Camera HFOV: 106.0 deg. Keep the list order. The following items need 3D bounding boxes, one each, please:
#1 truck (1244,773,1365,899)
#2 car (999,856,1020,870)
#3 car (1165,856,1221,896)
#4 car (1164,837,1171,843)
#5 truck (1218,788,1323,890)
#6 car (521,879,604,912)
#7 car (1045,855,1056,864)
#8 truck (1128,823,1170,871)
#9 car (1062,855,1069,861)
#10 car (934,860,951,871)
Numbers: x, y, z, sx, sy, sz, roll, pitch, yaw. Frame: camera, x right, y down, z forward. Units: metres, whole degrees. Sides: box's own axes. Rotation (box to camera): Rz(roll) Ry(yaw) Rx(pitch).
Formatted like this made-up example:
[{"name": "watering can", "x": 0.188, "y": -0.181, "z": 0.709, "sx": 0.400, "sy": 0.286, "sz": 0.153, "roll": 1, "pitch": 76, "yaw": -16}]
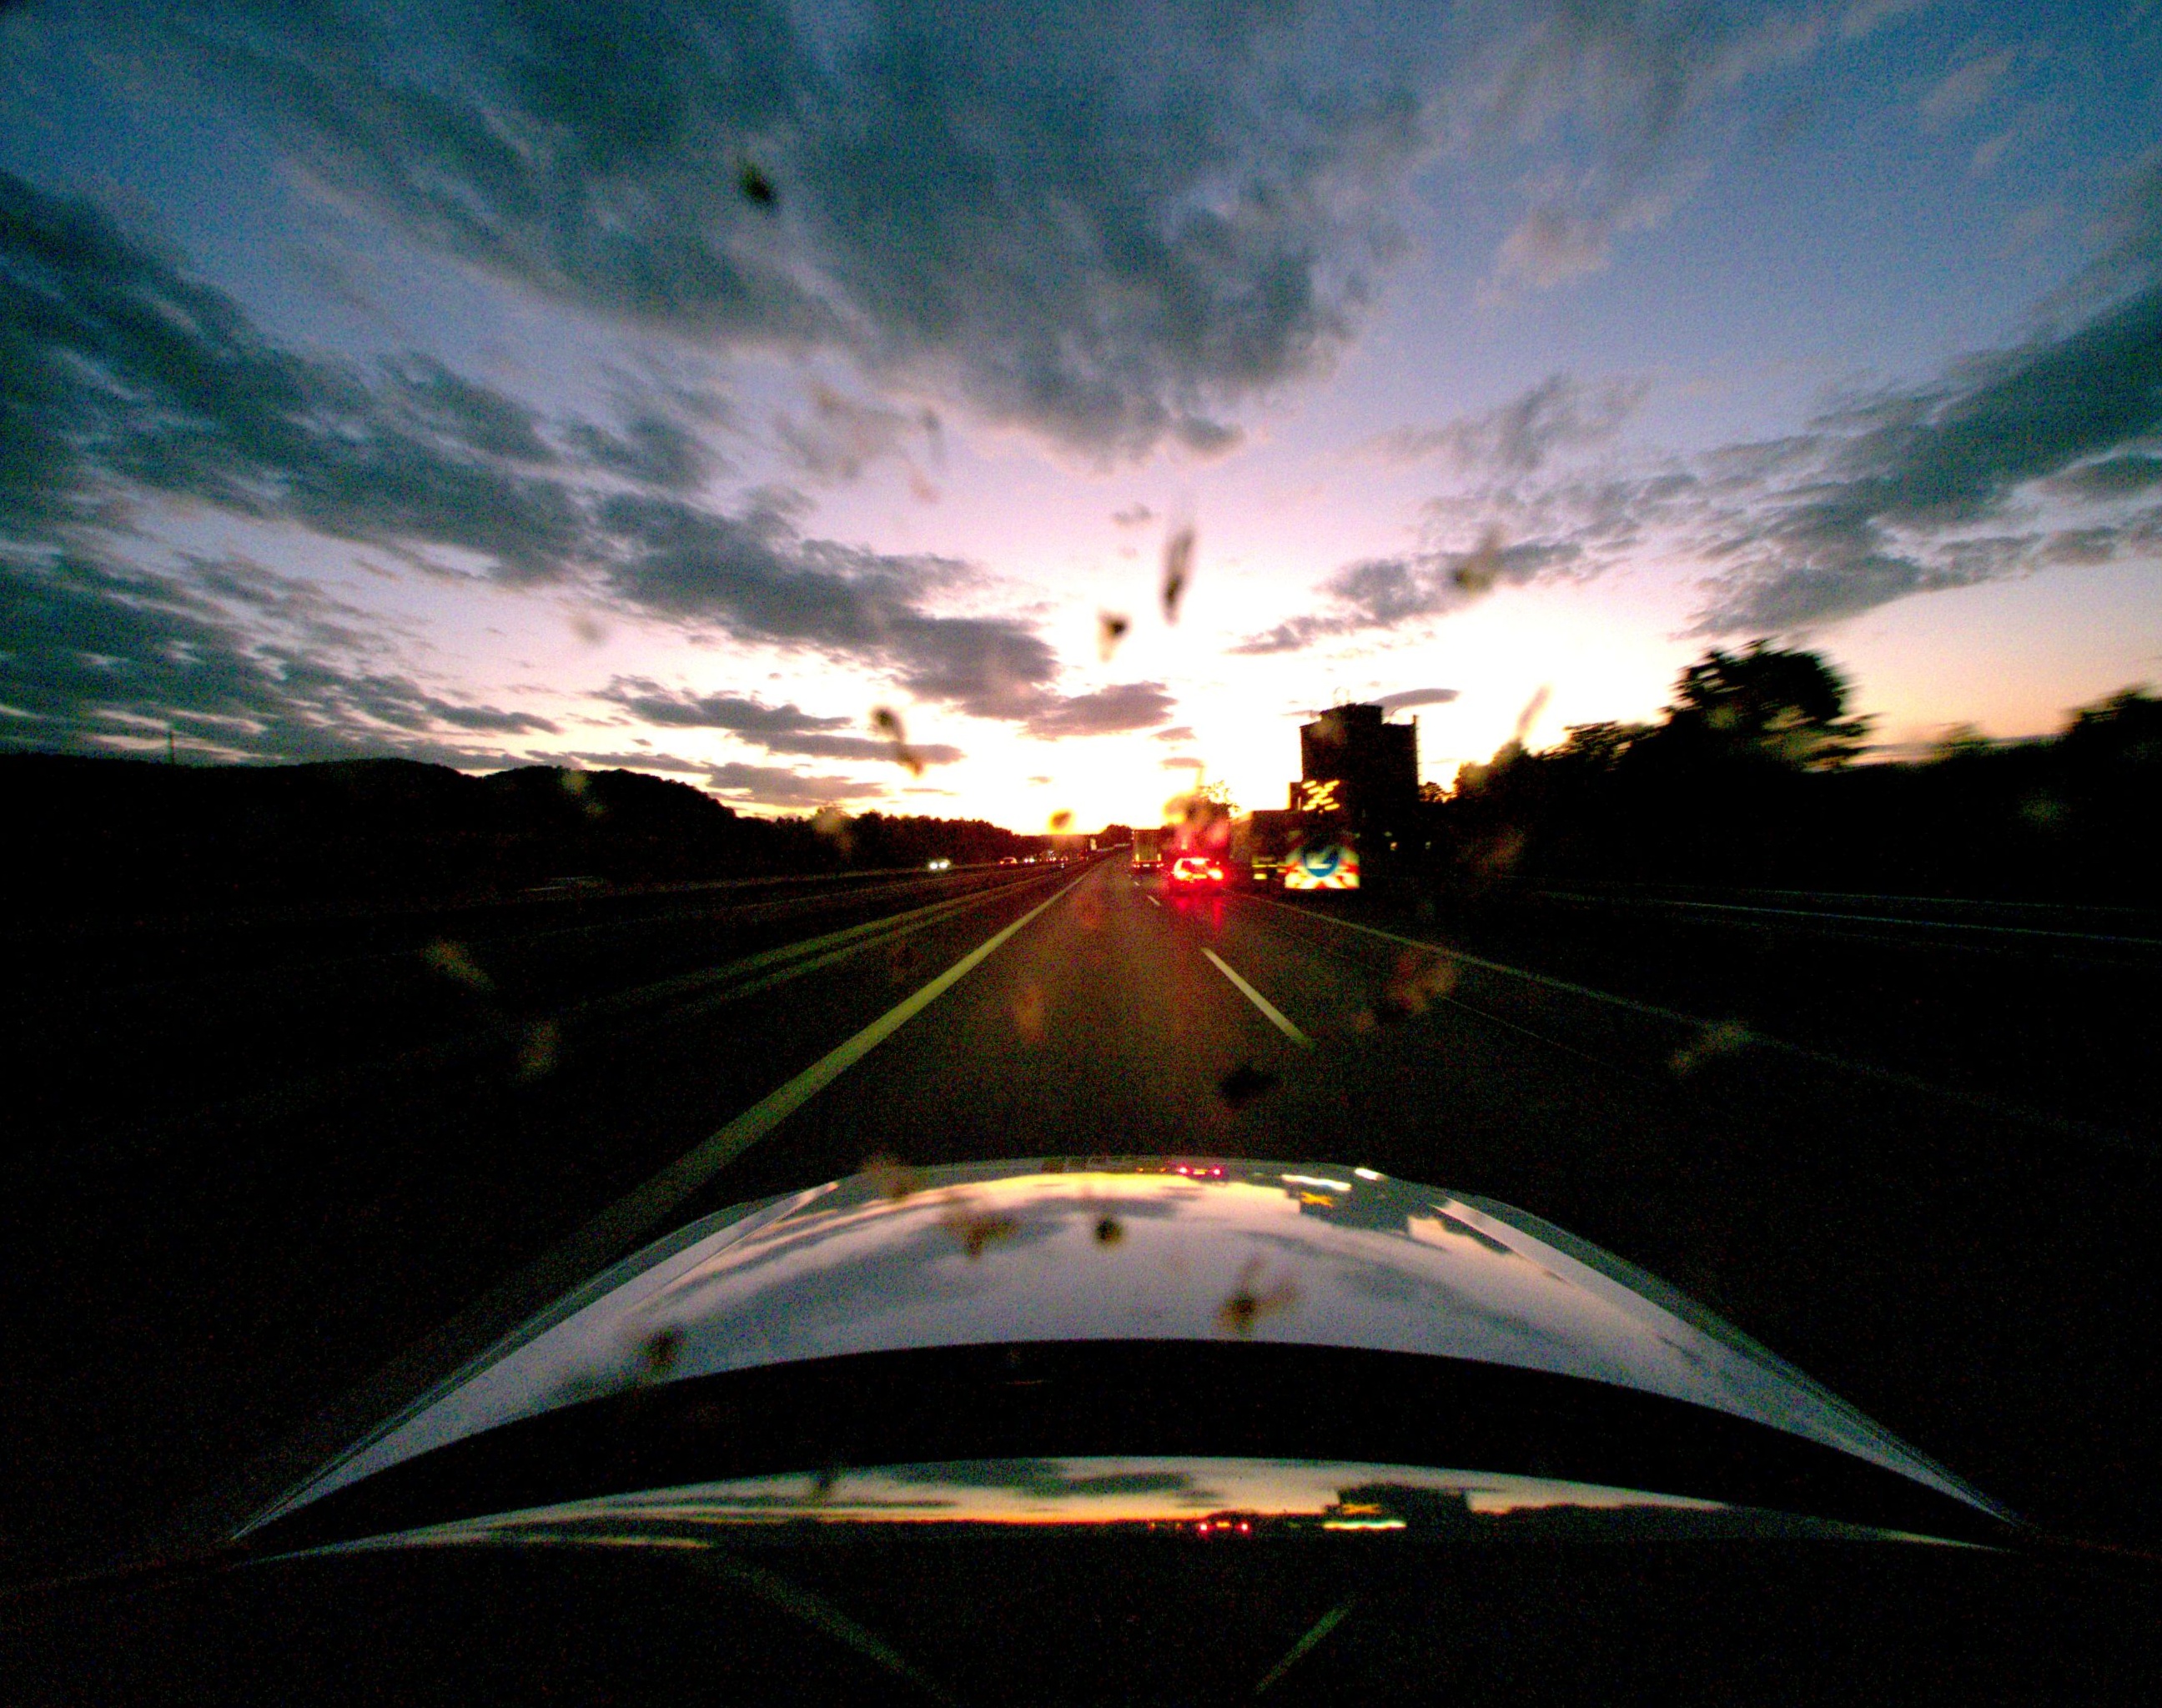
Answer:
[{"name": "truck", "x": 7.999, "y": -0.588, "z": 30.034, "sx": 2.777, "sy": 4.058, "sz": 6.414, "roll": -1, "pitch": 0, "yaw": 2}, {"name": "car", "x": -8.591, "y": 1.028, "z": 98.420, "sx": 1.865, "sy": 1.561, "sz": 4.521, "roll": -3, "pitch": 0, "yaw": 2}, {"name": "car", "x": 4.456, "y": 0.842, "z": 32.958, "sx": 1.907, "sy": 1.442, "sz": 4.004, "roll": -2, "pitch": 0, "yaw": 3}, {"name": "car", "x": 27.295, "y": -4.386, "z": 258.115, "sx": 1.893, "sy": 2.013, "sz": 3.862, "roll": -1, "pitch": 0, "yaw": 2}, {"name": "truck", "x": 8.497, "y": -0.604, "z": 37.807, "sx": 2.902, "sy": 4.111, "sz": 9.153, "roll": -1, "pitch": 0, "yaw": 2}, {"name": "car", "x": -26.453, "y": 2.084, "z": 41.710, "sx": 1.662, "sy": 1.494, "sz": 3.812, "roll": -1, "pitch": 0, "yaw": 2}, {"name": "car", "x": -6.173, "y": 1.111, "z": 165.299, "sx": 1.706, "sy": 1.605, "sz": 3.724, "roll": -3, "pitch": 0, "yaw": 2}, {"name": "truck", "x": 6.706, "y": -0.657, "z": 81.498, "sx": 3.497, "sy": 4.301, "sz": 9.895, "roll": -3, "pitch": 0, "yaw": 2}, {"name": "car", "x": -3.948, "y": 0.952, "z": 208.493, "sx": 1.631, "sy": 1.546, "sz": 3.397, "roll": -3, "pitch": 0, "yaw": 2}, {"name": "car", "x": -20.059, "y": 1.647, "z": 118.365, "sx": 1.662, "sy": 1.494, "sz": 3.675, "roll": -1, "pitch": 0, "yaw": 2}]
